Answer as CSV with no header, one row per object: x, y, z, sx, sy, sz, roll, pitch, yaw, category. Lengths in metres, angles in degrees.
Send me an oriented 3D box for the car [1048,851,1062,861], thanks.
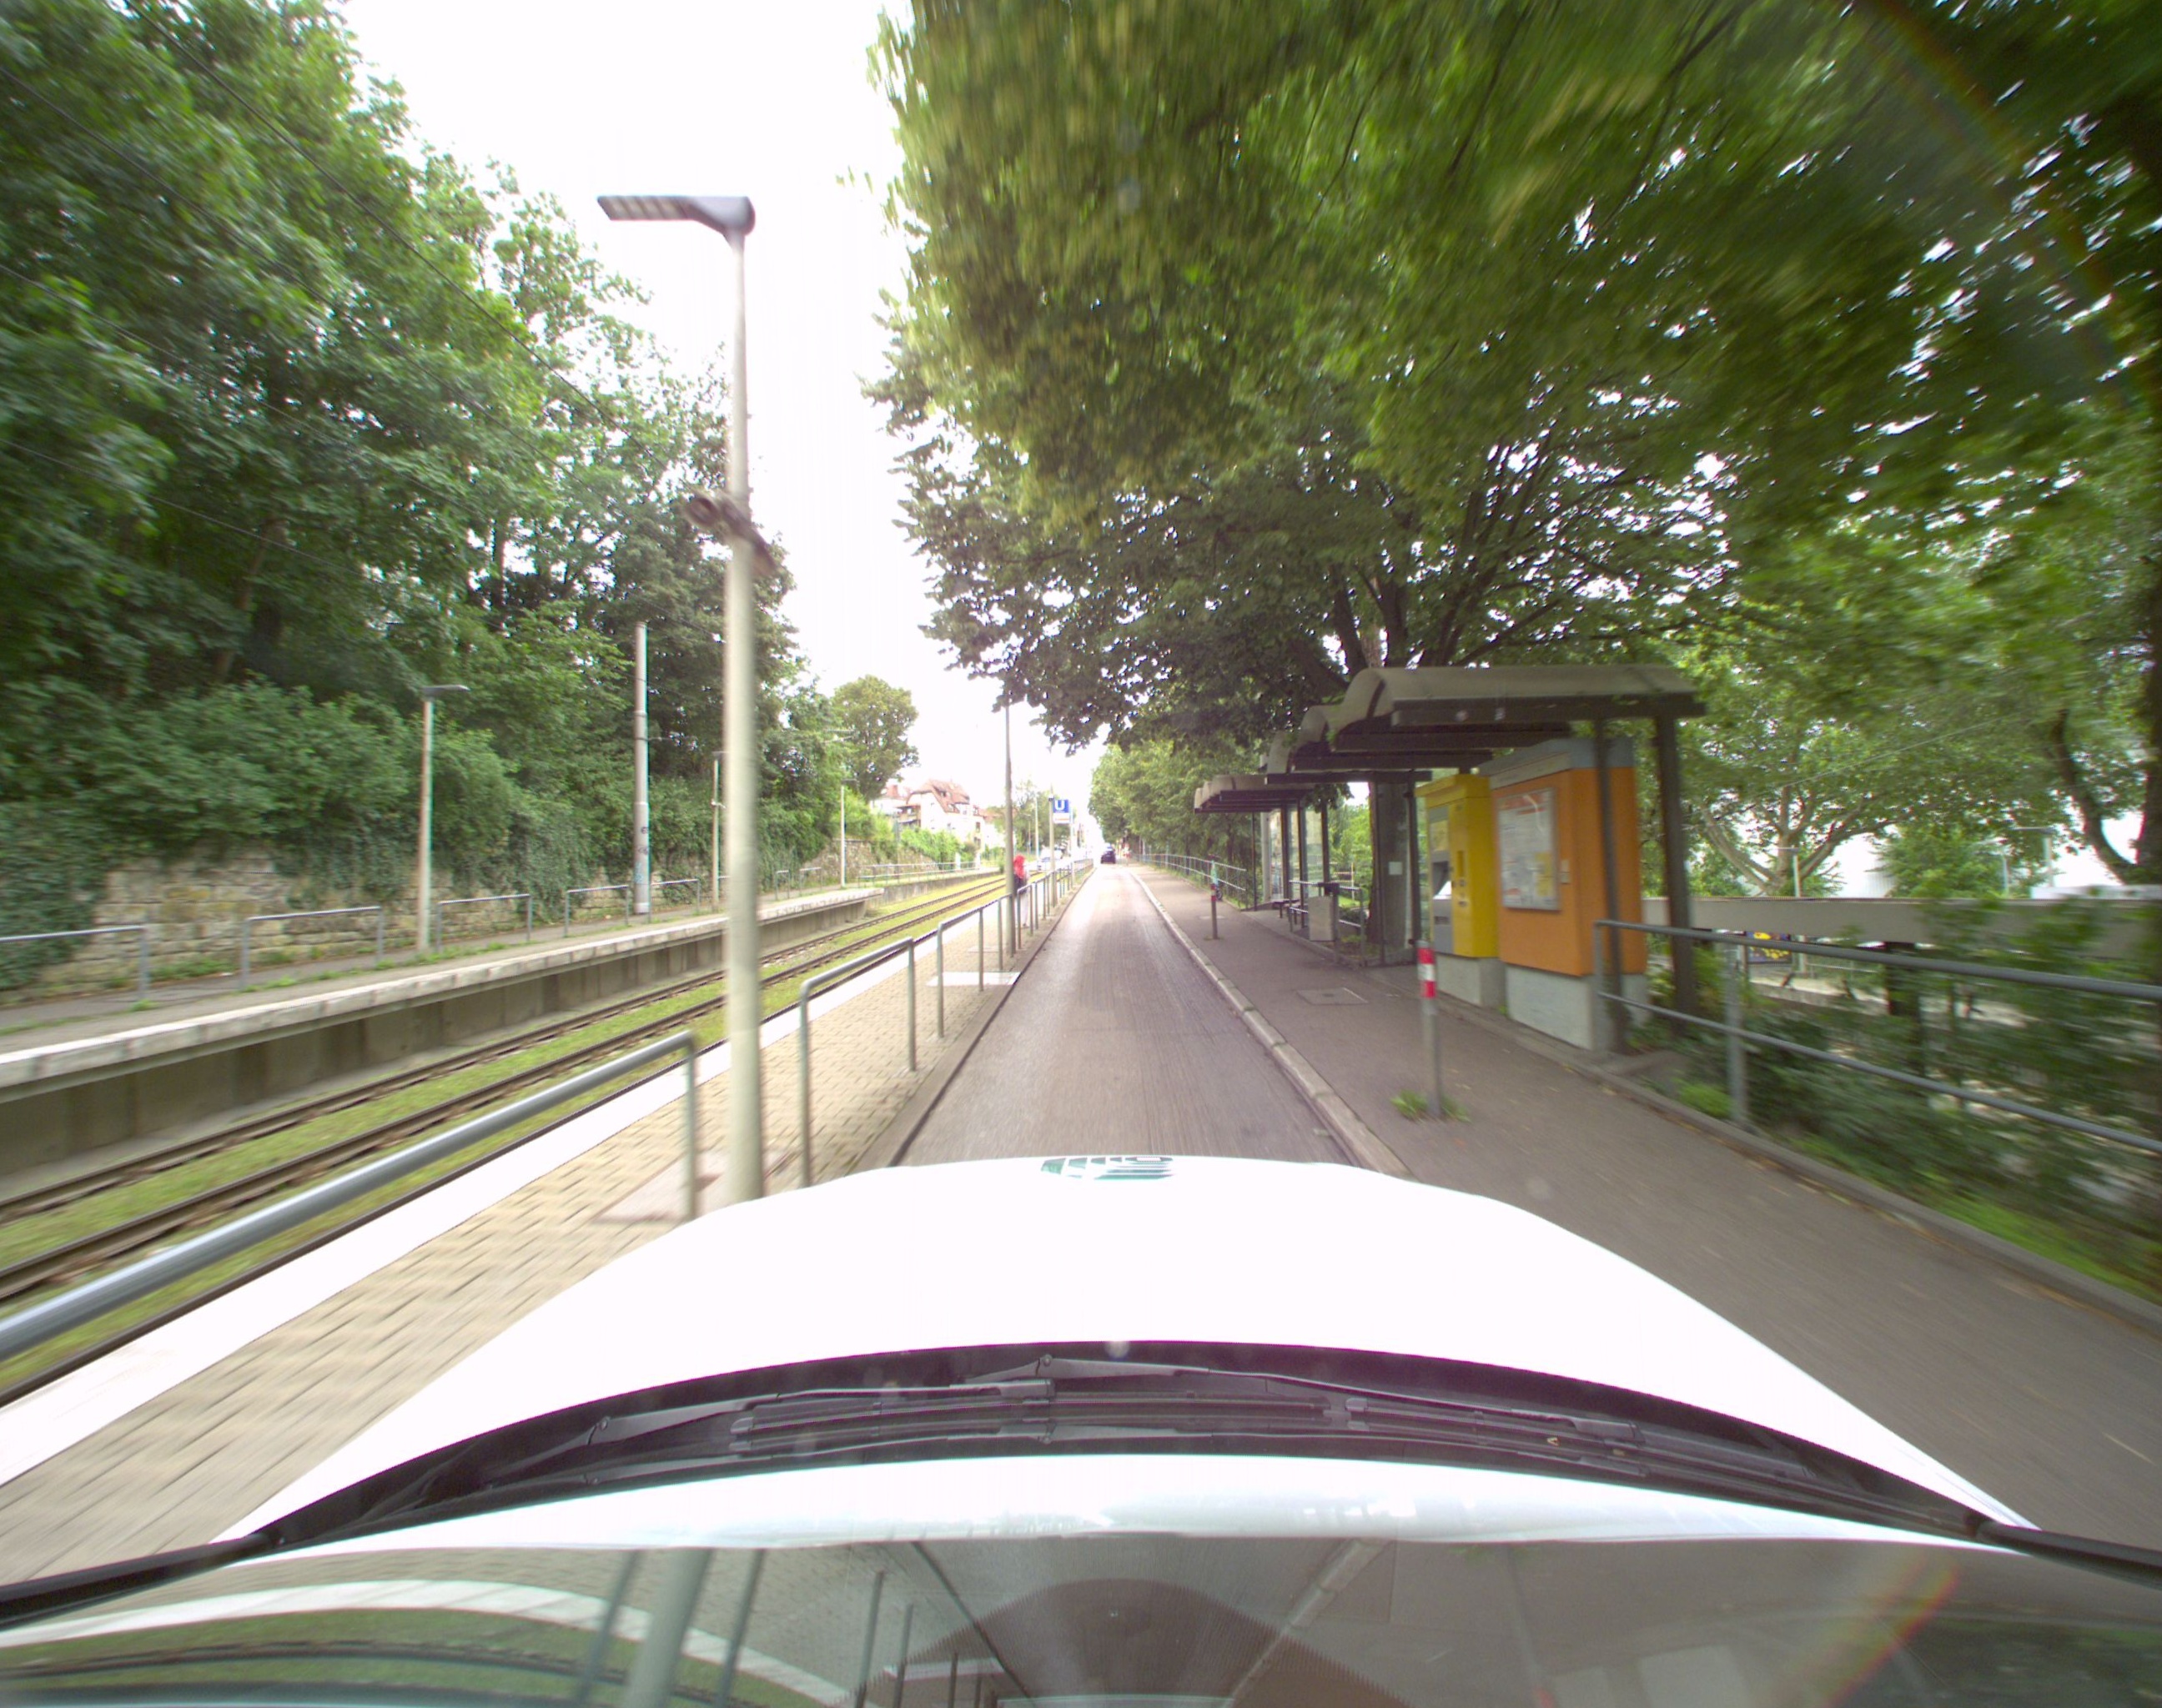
-4.442,0.340,139.221,1.878,1.526,4.666,-2,0,2,car

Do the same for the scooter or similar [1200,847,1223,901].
3.522,0.530,22.011,0.428,1.384,1.456,-1,-1,2,scooter or similar

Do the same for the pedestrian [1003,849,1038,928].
-1.179,0.659,15.937,0.623,1.502,0.739,0,1,-1,pedestrian

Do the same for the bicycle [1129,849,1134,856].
7.312,-0.205,118.313,0.427,0.976,1.790,0,-1,-8,bicycle

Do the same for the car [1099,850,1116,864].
3.282,0.351,99.011,1.896,1.615,4.604,0,0,3,car

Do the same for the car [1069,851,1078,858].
-1.990,0.125,205.472,1.985,1.808,4.003,-1,-1,3,car

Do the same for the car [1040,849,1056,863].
-4.990,0.320,124.889,2.029,1.881,4.885,-4,-1,1,car

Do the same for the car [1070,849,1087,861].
-0.299,0.140,105.940,1.986,1.498,4.314,0,-1,2,car
